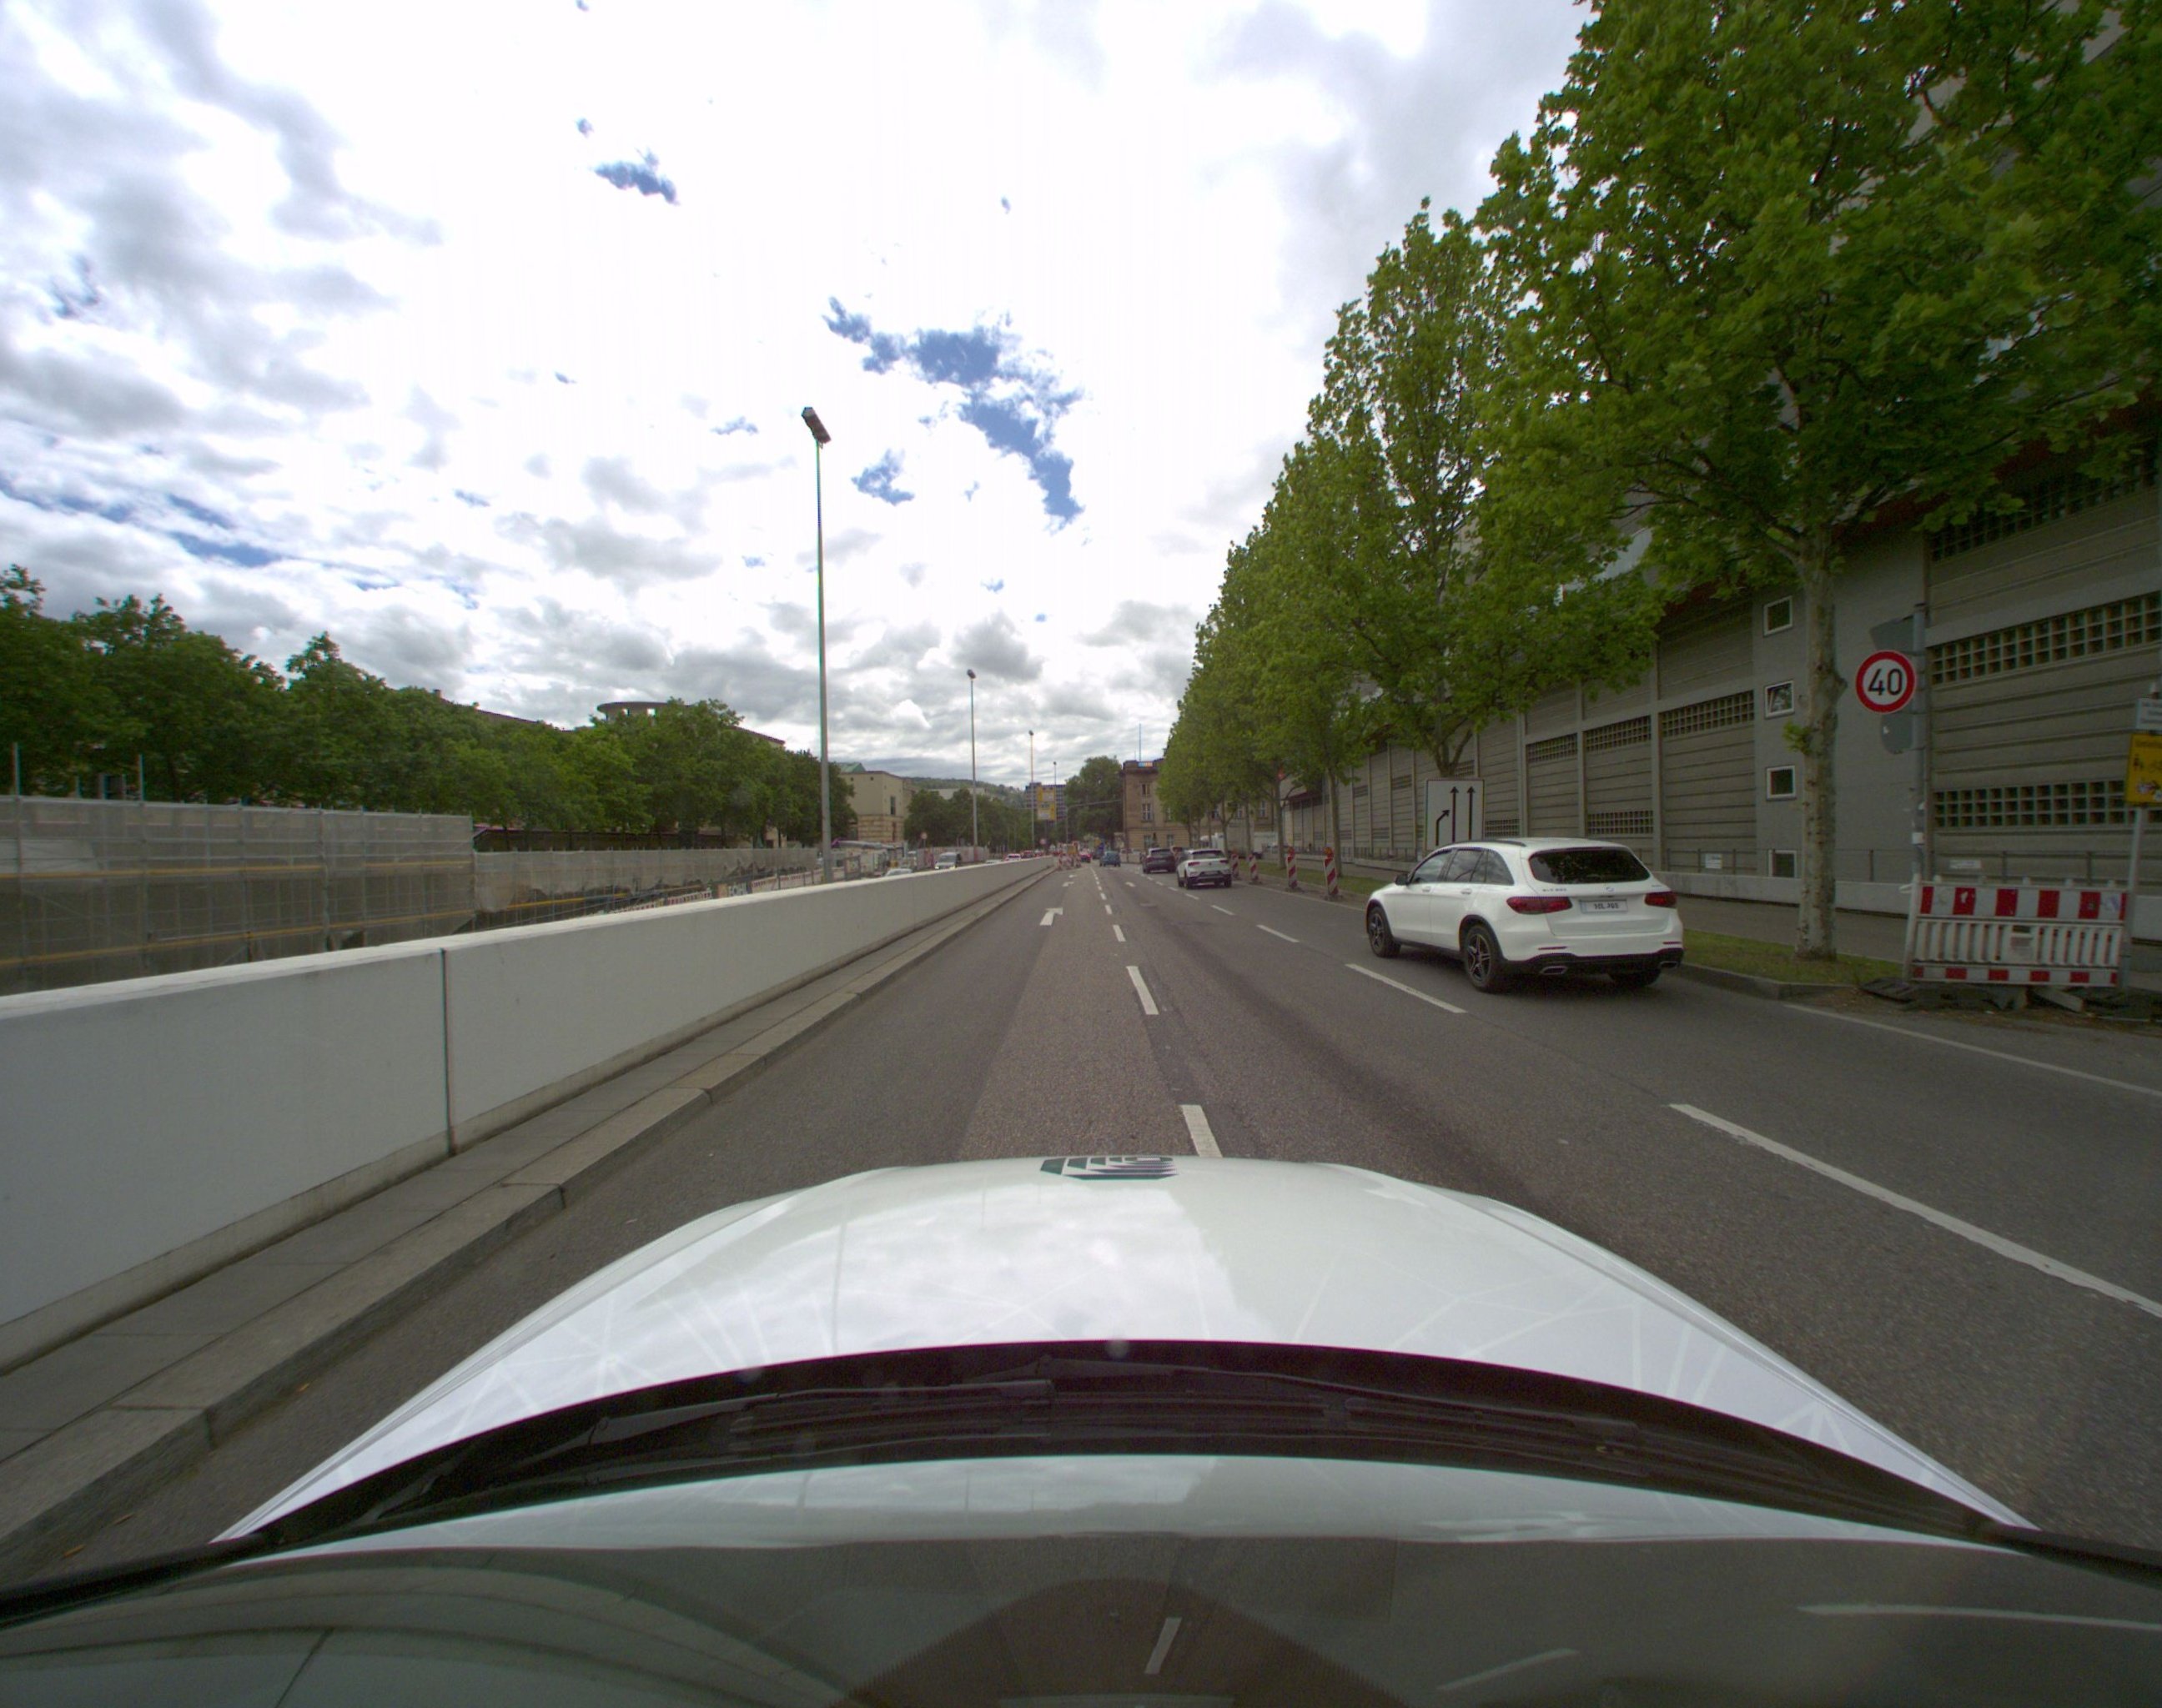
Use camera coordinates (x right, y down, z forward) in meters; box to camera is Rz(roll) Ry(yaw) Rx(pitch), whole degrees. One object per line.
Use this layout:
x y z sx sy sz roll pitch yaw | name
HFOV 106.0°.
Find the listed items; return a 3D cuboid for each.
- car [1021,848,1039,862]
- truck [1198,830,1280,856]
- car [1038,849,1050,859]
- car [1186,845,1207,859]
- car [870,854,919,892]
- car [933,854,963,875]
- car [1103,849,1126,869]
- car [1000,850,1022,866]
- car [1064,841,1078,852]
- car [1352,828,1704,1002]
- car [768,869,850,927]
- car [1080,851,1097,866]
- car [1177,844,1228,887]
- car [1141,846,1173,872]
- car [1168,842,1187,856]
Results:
-6.073 0.084 97.646 1.744 1.567 3.378 -4 0 2 | car
20.284 -1.451 104.769 9.993 3.050 2.569 -1 0 1 | truck
-5.842 0.053 129.301 1.746 1.568 4.328 -1 0 -2 | car
13.711 -0.248 96.766 1.850 1.568 4.332 -1 0 1 | car
-11.151 1.103 48.975 1.987 2.013 4.001 -1 2 0 | car
-11.044 0.823 67.592 1.744 1.567 3.378 -4 0 2 | car
3.274 0.475 78.421 1.814 1.740 4.489 -2 1 7 | car
-6.794 0.374 79.633 1.744 1.567 3.378 0 0 2 | car
-2.170 -1.608 181.832 2.570 2.374 5.534 -2 1 5 | car
5.083 0.595 10.144 1.806 1.642 4.550 -1 0 -1 | car
-11.269 1.754 34.009 1.987 2.013 4.001 -1 2 0 | car
1.001 0.604 105.267 1.814 1.740 4.487 -2 1 5 | car
4.911 0.439 33.288 1.742 1.567 4.338 -3 0 5 | car
4.998 0.292 53.999 1.816 1.567 4.483 -3 0 3 | car
11.474 -0.602 97.121 1.744 1.568 4.332 -1 0 1 | car
